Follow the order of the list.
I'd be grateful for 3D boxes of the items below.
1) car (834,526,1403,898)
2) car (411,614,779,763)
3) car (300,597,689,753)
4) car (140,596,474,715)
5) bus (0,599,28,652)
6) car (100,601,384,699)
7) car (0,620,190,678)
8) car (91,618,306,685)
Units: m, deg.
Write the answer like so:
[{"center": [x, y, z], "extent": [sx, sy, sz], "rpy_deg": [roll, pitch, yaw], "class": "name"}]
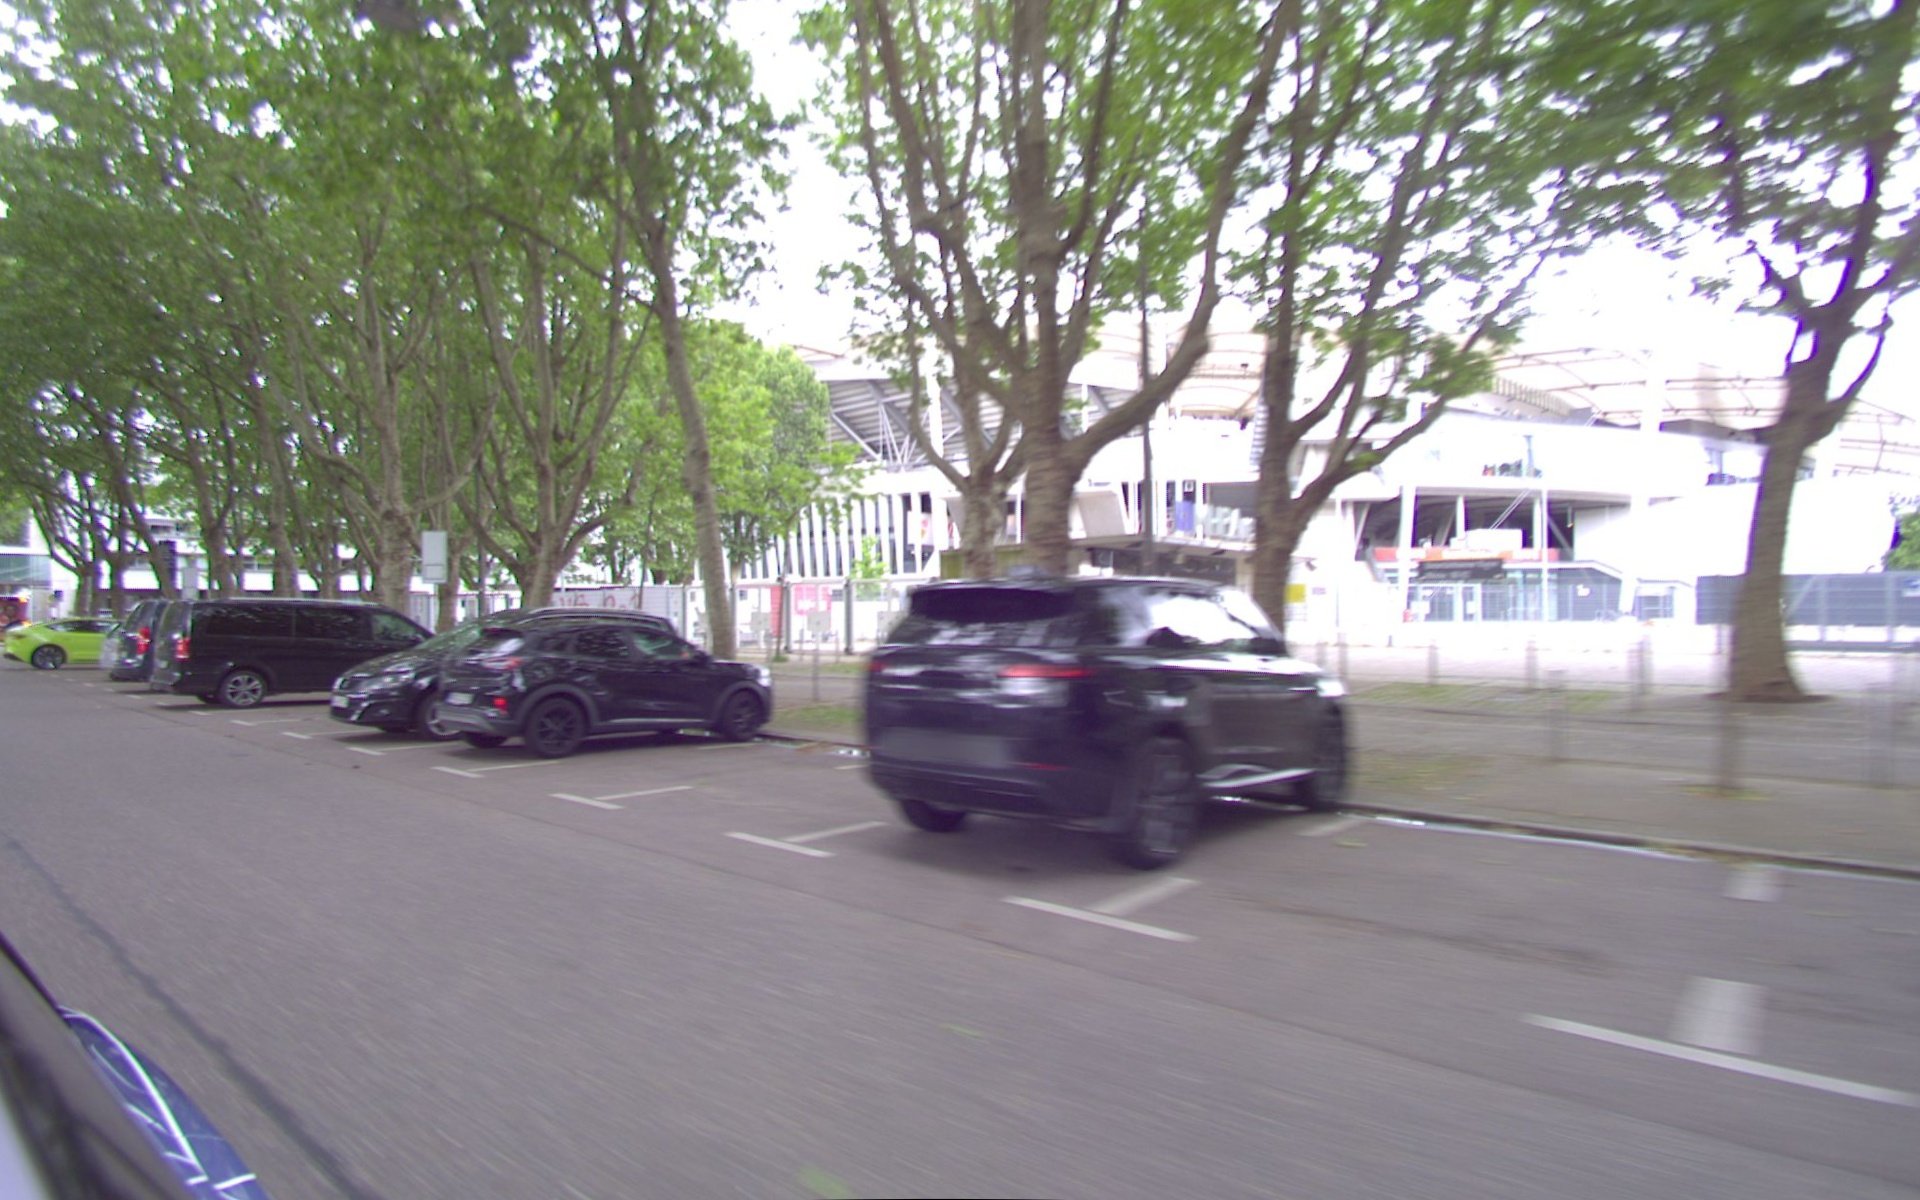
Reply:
[{"center": [1.442, 0.674, 7.328], "extent": [1.806, 1.834, 4.602], "rpy_deg": [-3, -4, 43], "class": "car"}, {"center": [-4.268, 0.984, 12.333], "extent": [1.752, 1.505, 3.859], "rpy_deg": [-1, -3, 39], "class": "car"}, {"center": [-6.232, 0.981, 14.007], "extent": [1.797, 1.795, 4.529], "rpy_deg": [-3, -4, 42], "class": "car"}, {"center": [-12.101, 0.985, 19.041], "extent": [2.207, 1.939, 4.853], "rpy_deg": [-2, -3, 41], "class": "car"}, {"center": [-62.866, 1.610, 65.454], "extent": [12.367, 3.179, 2.622], "rpy_deg": [-1, -4, 43], "class": "bus"}, {"center": [-15.722, 1.093, 22.407], "extent": [2.016, 1.939, 4.715], "rpy_deg": [-1, -3, 39], "class": "car"}, {"center": [-27.191, 1.482, 31.854], "extent": [1.758, 1.630, 4.467], "rpy_deg": [-1, -1, 43], "class": "car"}, {"center": [-19.510, 1.312, 26.094], "extent": [1.754, 1.581, 4.067], "rpy_deg": [-1, -3, 36], "class": "car"}]
